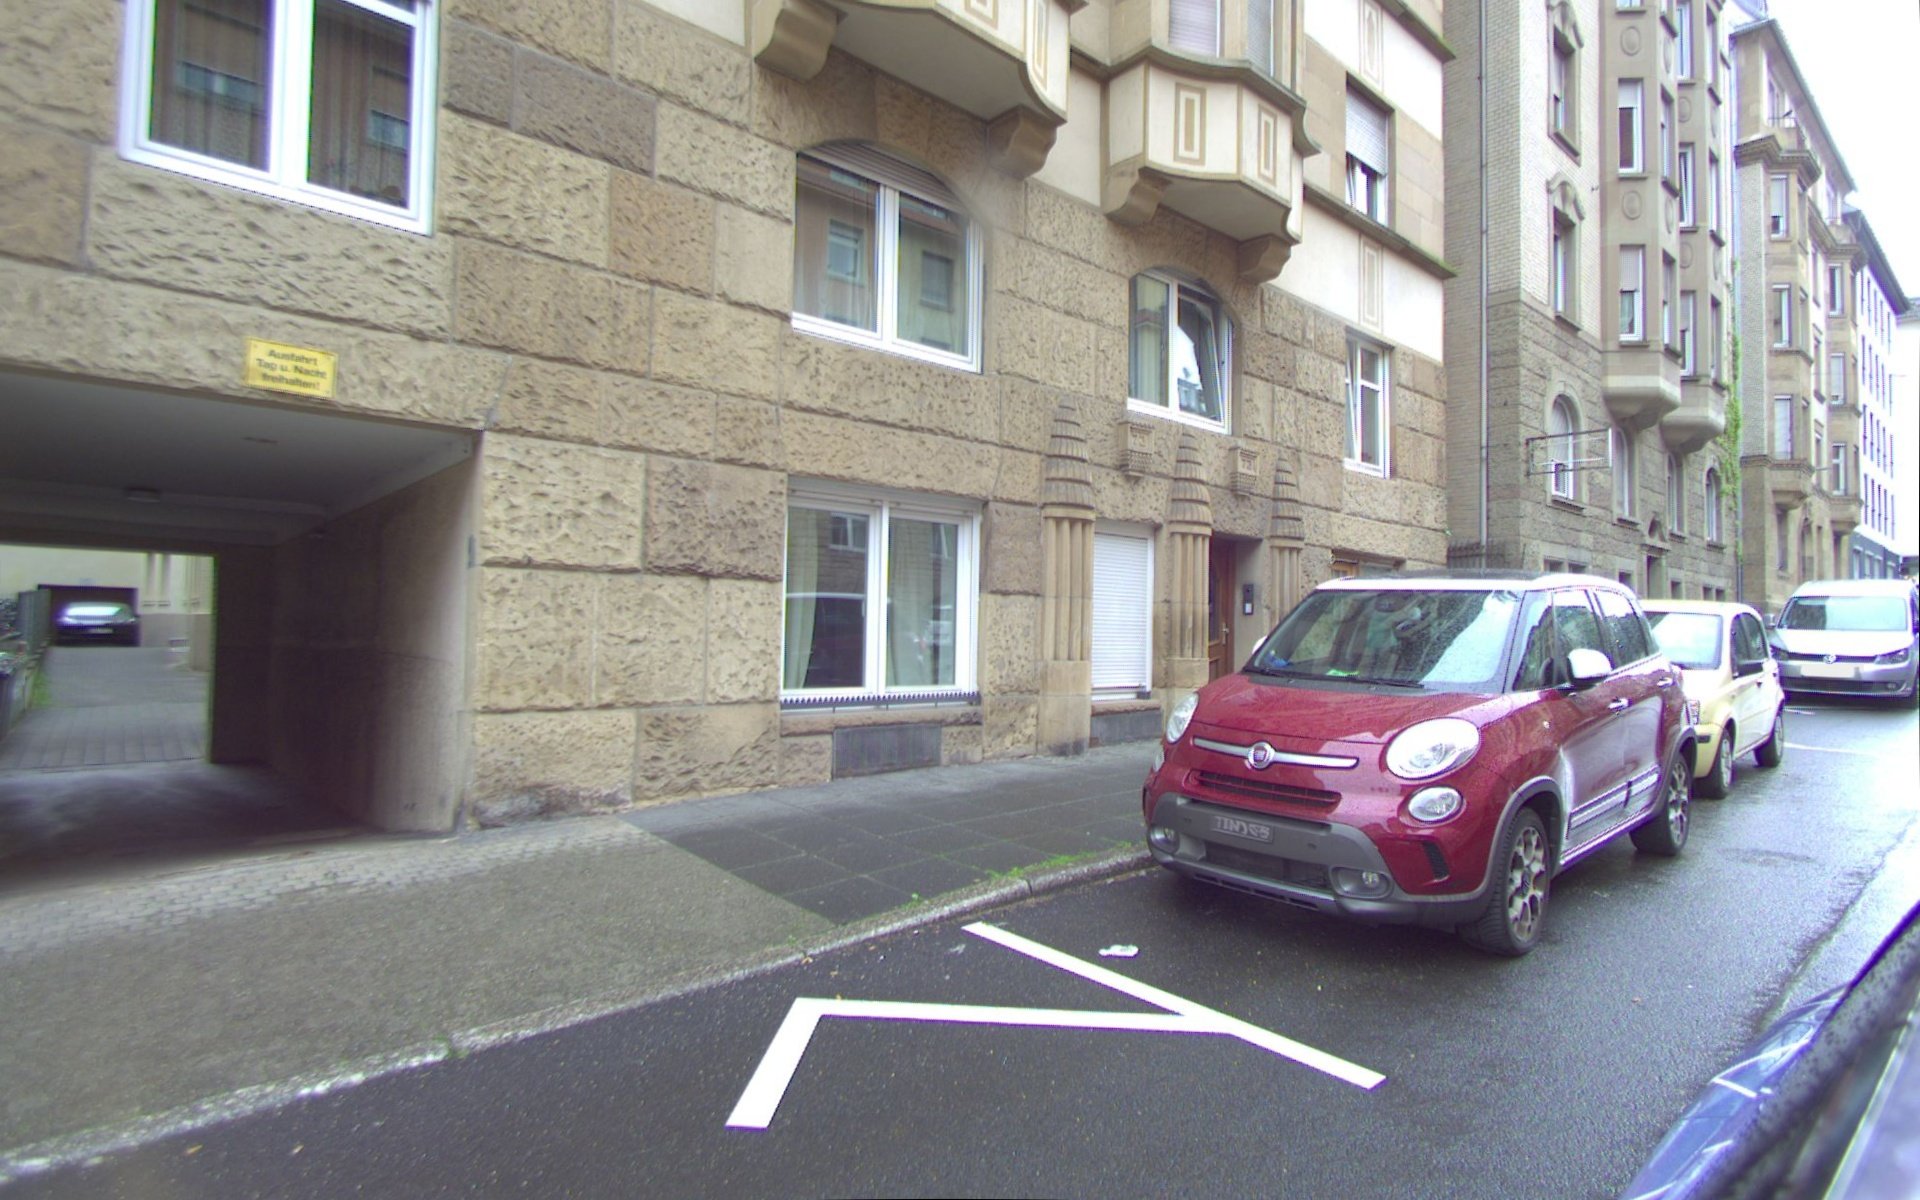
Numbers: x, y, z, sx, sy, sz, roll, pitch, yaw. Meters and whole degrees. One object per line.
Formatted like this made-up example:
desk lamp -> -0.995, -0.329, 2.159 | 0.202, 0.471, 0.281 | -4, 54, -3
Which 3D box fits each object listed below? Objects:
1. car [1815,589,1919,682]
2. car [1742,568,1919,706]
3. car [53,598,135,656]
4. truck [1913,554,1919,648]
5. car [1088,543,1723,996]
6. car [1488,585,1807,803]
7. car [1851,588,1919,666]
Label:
car -> 17.175, 0.593, 18.505 | 3.934, 1.549, 1.994 | 0, -1, -45
car -> 13.767, 0.494, 15.514 | 4.380, 1.825, 1.966 | 0, -1, -41
car -> -25.181, 0.746, 29.462 | 1.692, 1.541, 4.098 | 0, -1, -41
truck -> 29.167, 0.013, 28.883 | 6.036, 2.568, 2.234 | 0, -1, -41
car -> 2.682, 0.609, 5.635 | 3.932, 1.619, 1.804 | 0, -1, -42
car -> 6.204, 0.672, 8.997 | 3.517, 1.549, 1.578 | 0, -1, -43
car -> 20.481, 0.540, 21.445 | 3.860, 1.549, 1.889 | 0, -1, -41
